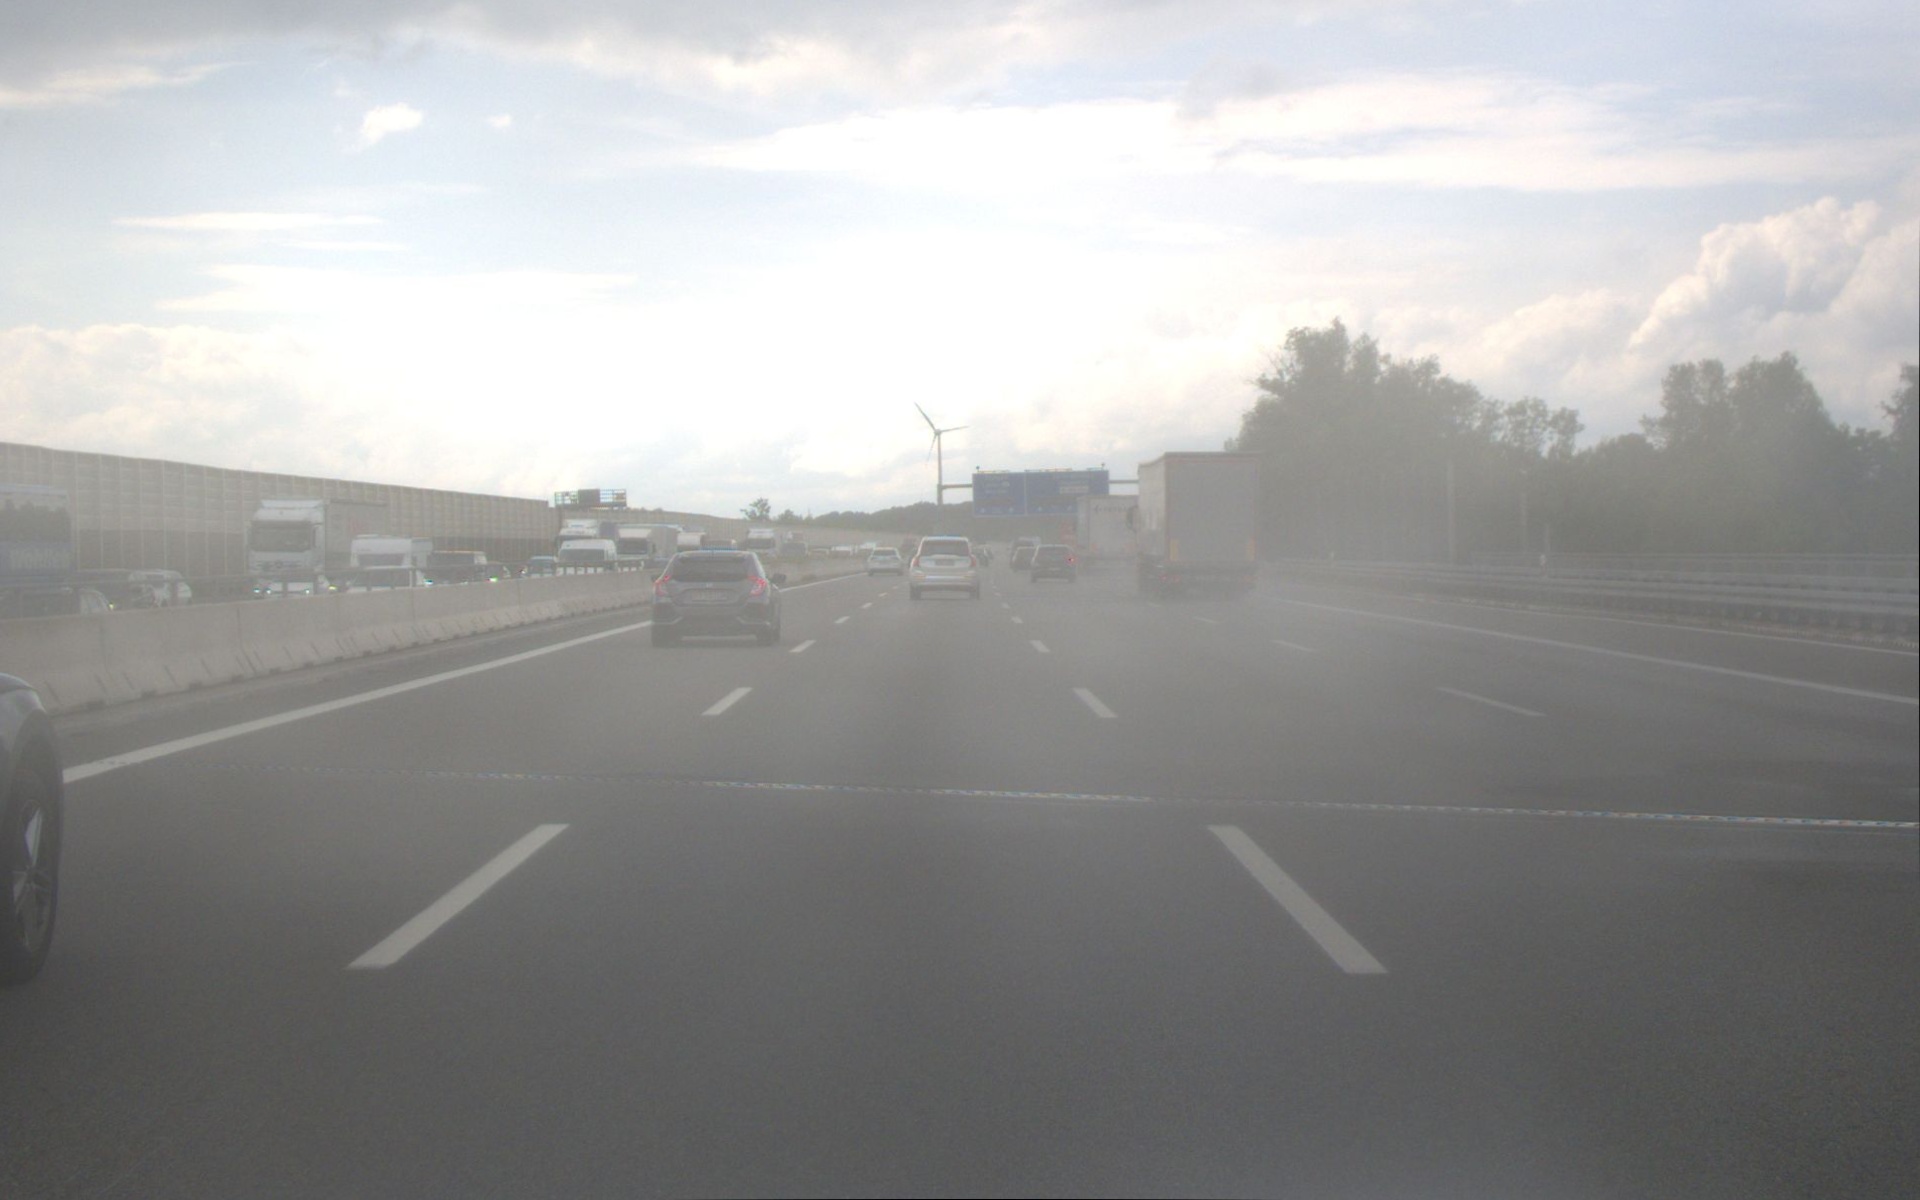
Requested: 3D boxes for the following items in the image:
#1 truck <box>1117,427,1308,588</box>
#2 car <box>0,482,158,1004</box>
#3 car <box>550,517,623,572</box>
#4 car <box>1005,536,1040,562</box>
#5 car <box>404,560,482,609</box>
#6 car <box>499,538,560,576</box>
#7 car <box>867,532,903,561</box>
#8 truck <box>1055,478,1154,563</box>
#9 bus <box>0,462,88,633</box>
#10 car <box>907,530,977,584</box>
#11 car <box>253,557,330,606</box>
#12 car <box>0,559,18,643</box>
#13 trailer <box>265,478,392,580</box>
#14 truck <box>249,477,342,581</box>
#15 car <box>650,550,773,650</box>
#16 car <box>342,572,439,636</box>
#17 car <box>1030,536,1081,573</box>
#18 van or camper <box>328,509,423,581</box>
[{"bbox_3d":[7.079,-2.648,98.705,4.179,4.273,12.614,1,1,-2],"label":"truck"},{"bbox_3d":[-4.057,0.478,10.772,1.908,1.685,5.169,0,1,0],"label":"car"},{"bbox_3d":[-14.589,-2.184,134.626,2.159,2.064,6.015,-1,1,0],"label":"car"},{"bbox_3d":[3.602,-2.967,198.605,1.835,1.436,4.056,0,2,-1],"label":"car"},{"bbox_3d":[-18.610,-0.572,123.925,2.079,1.653,4.802,-1,1,0],"label":"car"},{"bbox_3d":[-18.608,-1.874,148.765,1.923,1.593,5.096,-1,1,0],"label":"car"},{"bbox_3d":[-3.871,-2.762,177.794,1.772,1.436,3.874,0,2,-3],"label":"car"},{"bbox_3d":[7.278,-4.063,175.466,4.243,4.162,11.991,1,1,-1],"label":"truck"},{"bbox_3d":[-22.512,-1.154,76.532,3.092,3.745,11.882,-1,1,0],"label":"bus"},{"bbox_3d":[-0.532,-1.229,96.348,1.772,1.436,4.056,0,2,-3],"label":"car"},{"bbox_3d":[-22.302,-0.637,114.825,1.747,1.520,4.178,-1,1,0],"label":"car"},{"bbox_3d":[-18.482,0.064,61.712,1.747,1.520,4.927,-1,1,0],"label":"car"},{"bbox_3d":[-25.722,-2.935,140.706,2.563,3.921,13.817,1,1,0],"label":"trailer"},{"bbox_3d":[-25.753,-2.762,133.456,2.576,3.921,5.177,1,1,0],"label":"truck"},{"bbox_3d":[-3.741,-0.036,52.369,1.760,1.364,5.061,0,2,-3],"label":"car"},{"bbox_3d":[-14.618,0.088,88.442,1.747,1.520,4.178,-1,1,0],"label":"car"},{"bbox_3d":[3.845,-1.844,139.189,1.835,1.436,4.056,0,2,-1],"label":"car"},{"bbox_3d":[-22.183,-2.132,130.740,2.344,2.632,7.150,-1,1,0],"label":"van or camper"}]
